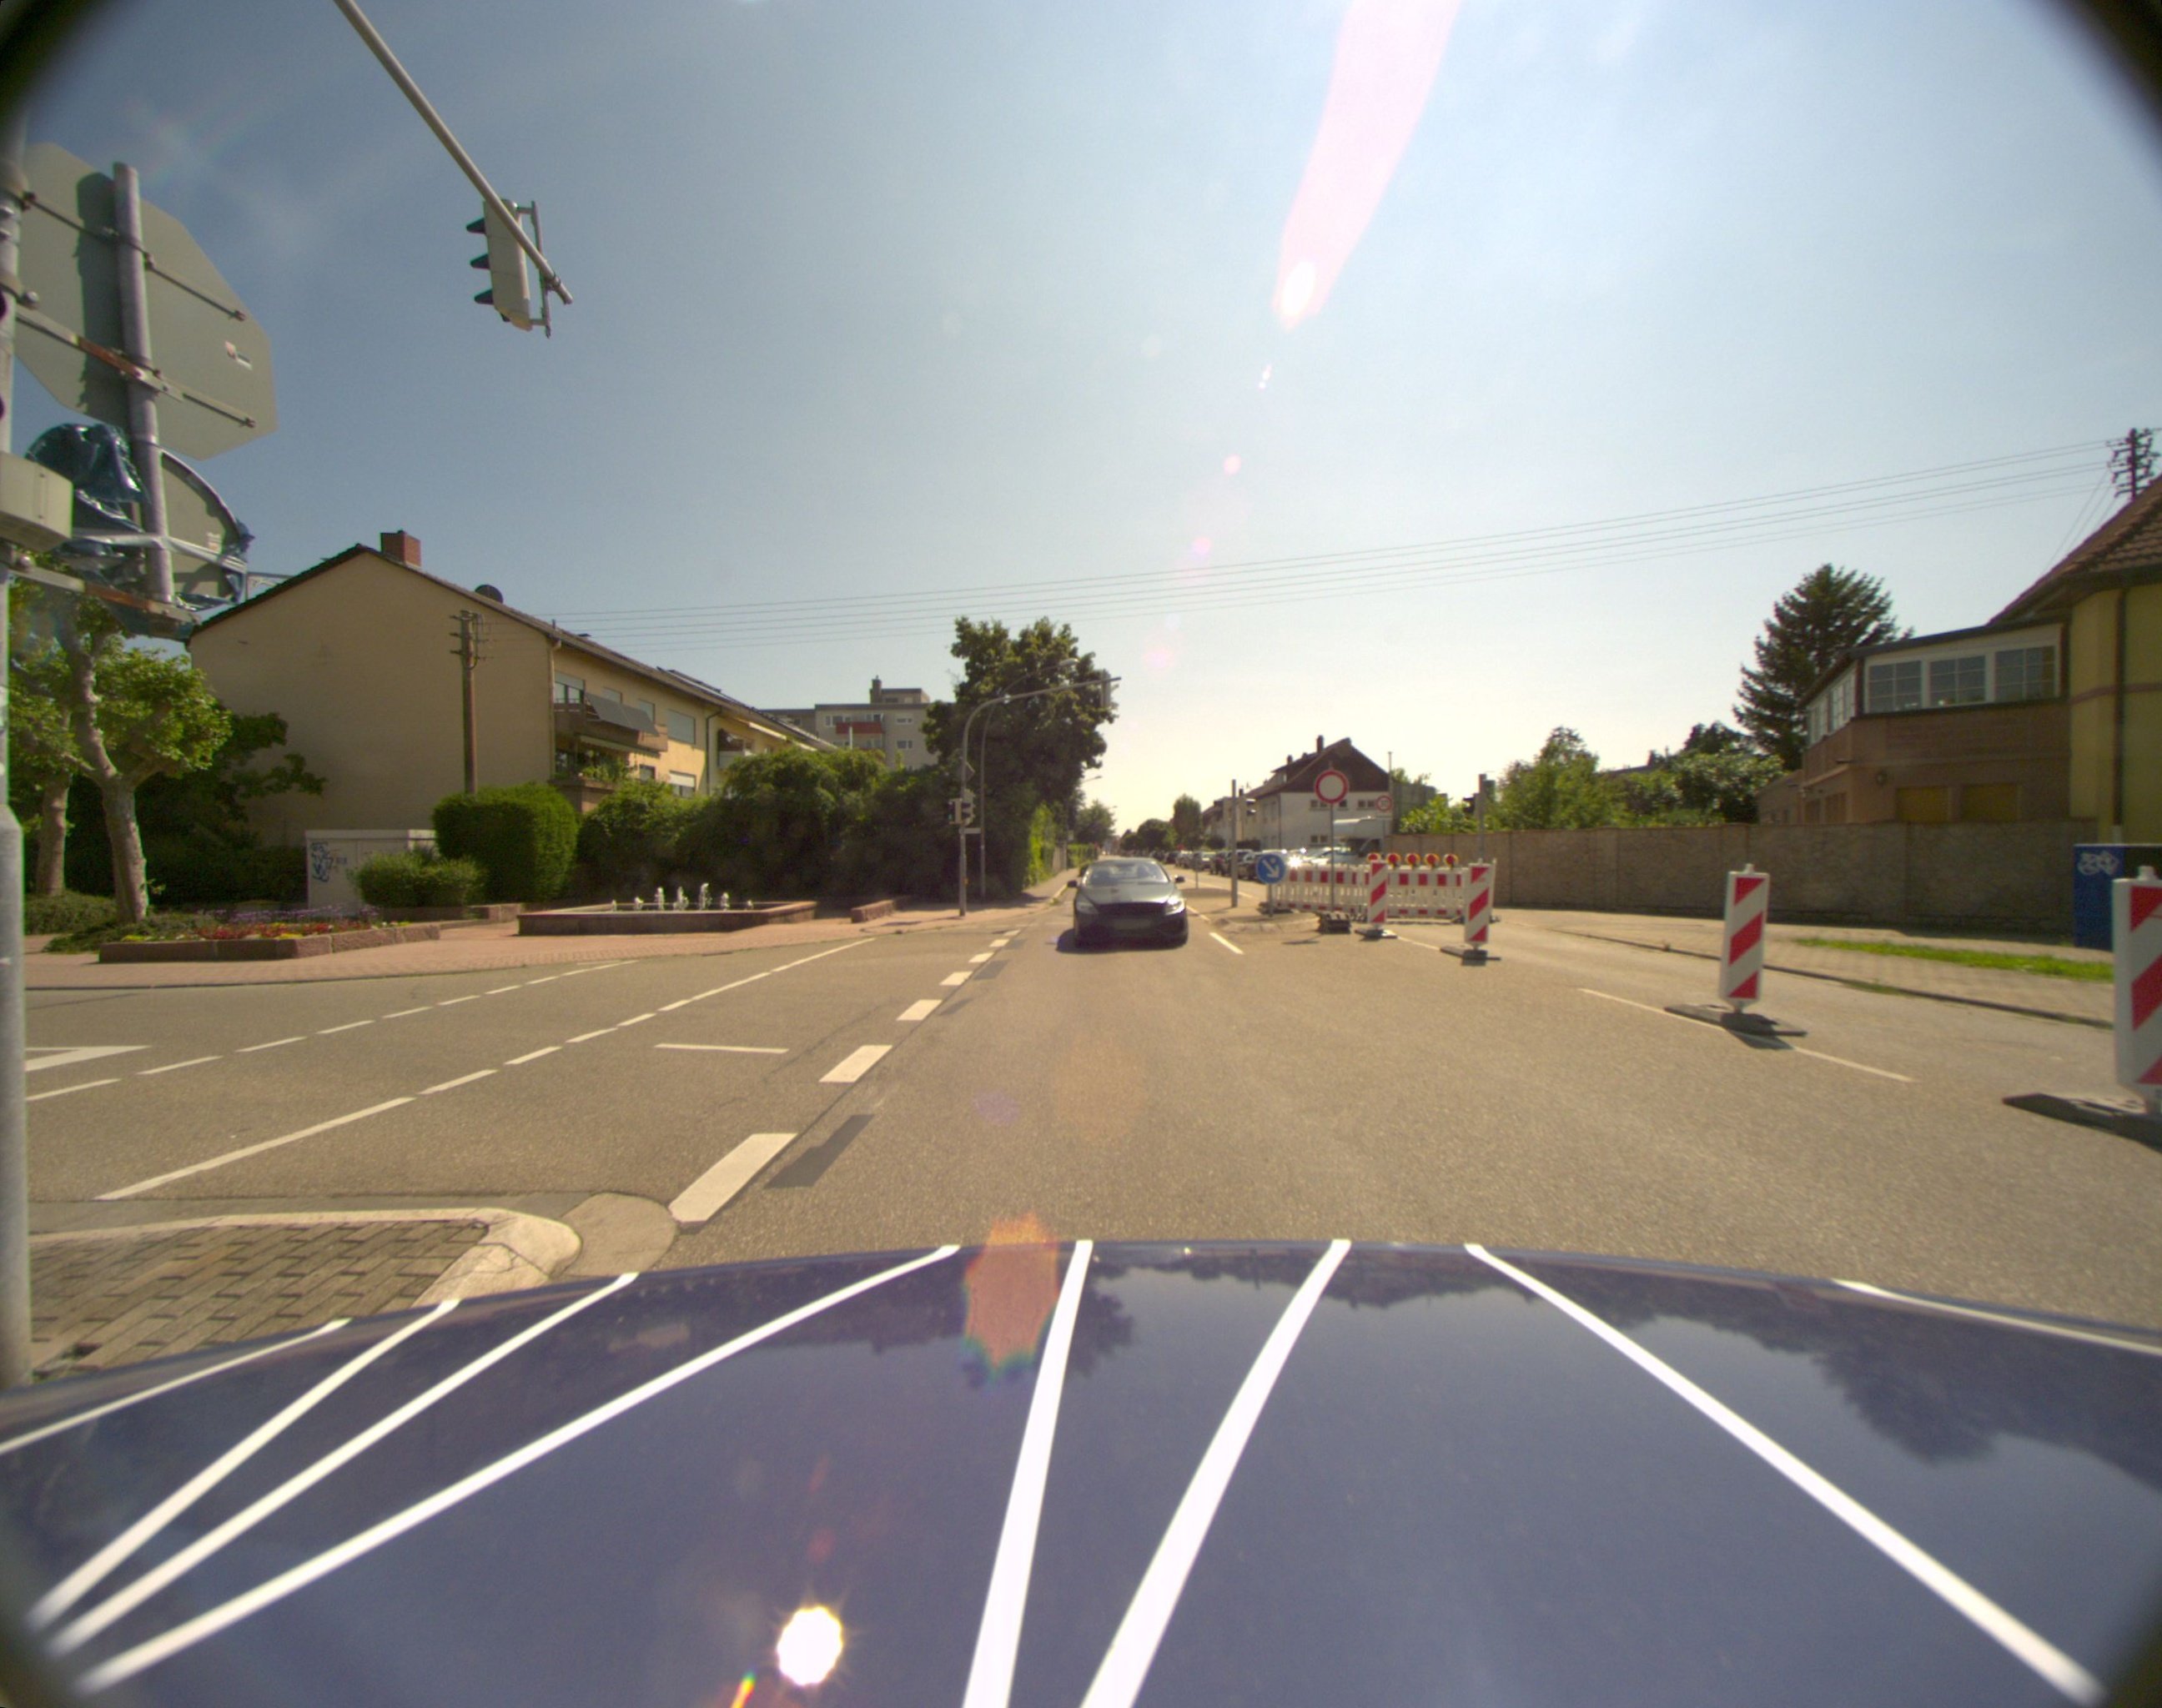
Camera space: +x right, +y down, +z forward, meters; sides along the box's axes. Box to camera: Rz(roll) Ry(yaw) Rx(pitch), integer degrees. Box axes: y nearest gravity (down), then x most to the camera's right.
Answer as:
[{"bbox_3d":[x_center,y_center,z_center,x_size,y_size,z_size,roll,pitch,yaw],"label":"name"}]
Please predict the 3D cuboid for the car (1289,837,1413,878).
[{"bbox_3d":[14.102,0.150,39.883,5.781,1.990,2.130,-1,1,-6],"label":"car"}]

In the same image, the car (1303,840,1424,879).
[{"bbox_3d":[13.604,0.240,36.738,5.115,1.758,2.130,-1,1,-8],"label":"car"}]

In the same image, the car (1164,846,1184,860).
[{"bbox_3d":[10.739,-0.127,87.550,1.739,1.504,3.916,-1,1,-1],"label":"car"}]

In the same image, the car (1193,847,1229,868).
[{"bbox_3d":[9.872,0.220,58.057,1.863,1.538,4.544,1,1,-1],"label":"car"}]

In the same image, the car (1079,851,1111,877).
[{"bbox_3d":[0.860,0.617,49.680,1.872,1.586,4.615,-1,1,-1],"label":"car"}]

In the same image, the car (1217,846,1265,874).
[{"bbox_3d":[9.530,0.334,45.606,1.863,1.581,4.227,1,1,-1],"label":"car"}]

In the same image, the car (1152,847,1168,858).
[{"bbox_3d":[11.117,-0.224,107.134,1.739,1.409,3.916,-1,1,-1],"label":"car"}]

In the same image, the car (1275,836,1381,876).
[{"bbox_3d":[13.741,0.093,42.393,5.179,2.076,2.211,-1,1,-6],"label":"car"}]

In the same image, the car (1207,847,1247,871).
[{"bbox_3d":[9.704,0.310,50.792,1.862,1.538,4.177,1,1,0],"label":"car"}]

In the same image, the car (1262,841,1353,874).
[{"bbox_3d":[13.325,0.190,44.866,4.776,1.853,1.999,-1,1,-5],"label":"car"}]

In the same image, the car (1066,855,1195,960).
[{"bbox_3d":[0.739,0.828,14.138,1.889,1.429,4.837,-4,1,-1],"label":"car"}]

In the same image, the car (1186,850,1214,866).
[{"bbox_3d":[10.242,0.301,65.575,1.739,1.310,3.915,1,1,-1],"label":"car"}]

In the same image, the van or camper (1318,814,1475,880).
[{"bbox_3d":[14.165,-0.333,34.308,6.262,2.828,2.288,-1,1,-8],"label":"van or camper"}]

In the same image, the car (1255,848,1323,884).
[{"bbox_3d":[9.288,0.475,34.298,1.952,1.491,4.509,1,1,3],"label":"car"}]

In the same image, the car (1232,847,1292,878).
[{"bbox_3d":[9.375,0.421,39.716,1.952,1.491,4.507,1,1,-1],"label":"car"}]

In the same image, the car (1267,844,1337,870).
[{"bbox_3d":[14.222,0.172,49.013,3.999,1.607,1.767,-1,1,-5],"label":"car"}]
